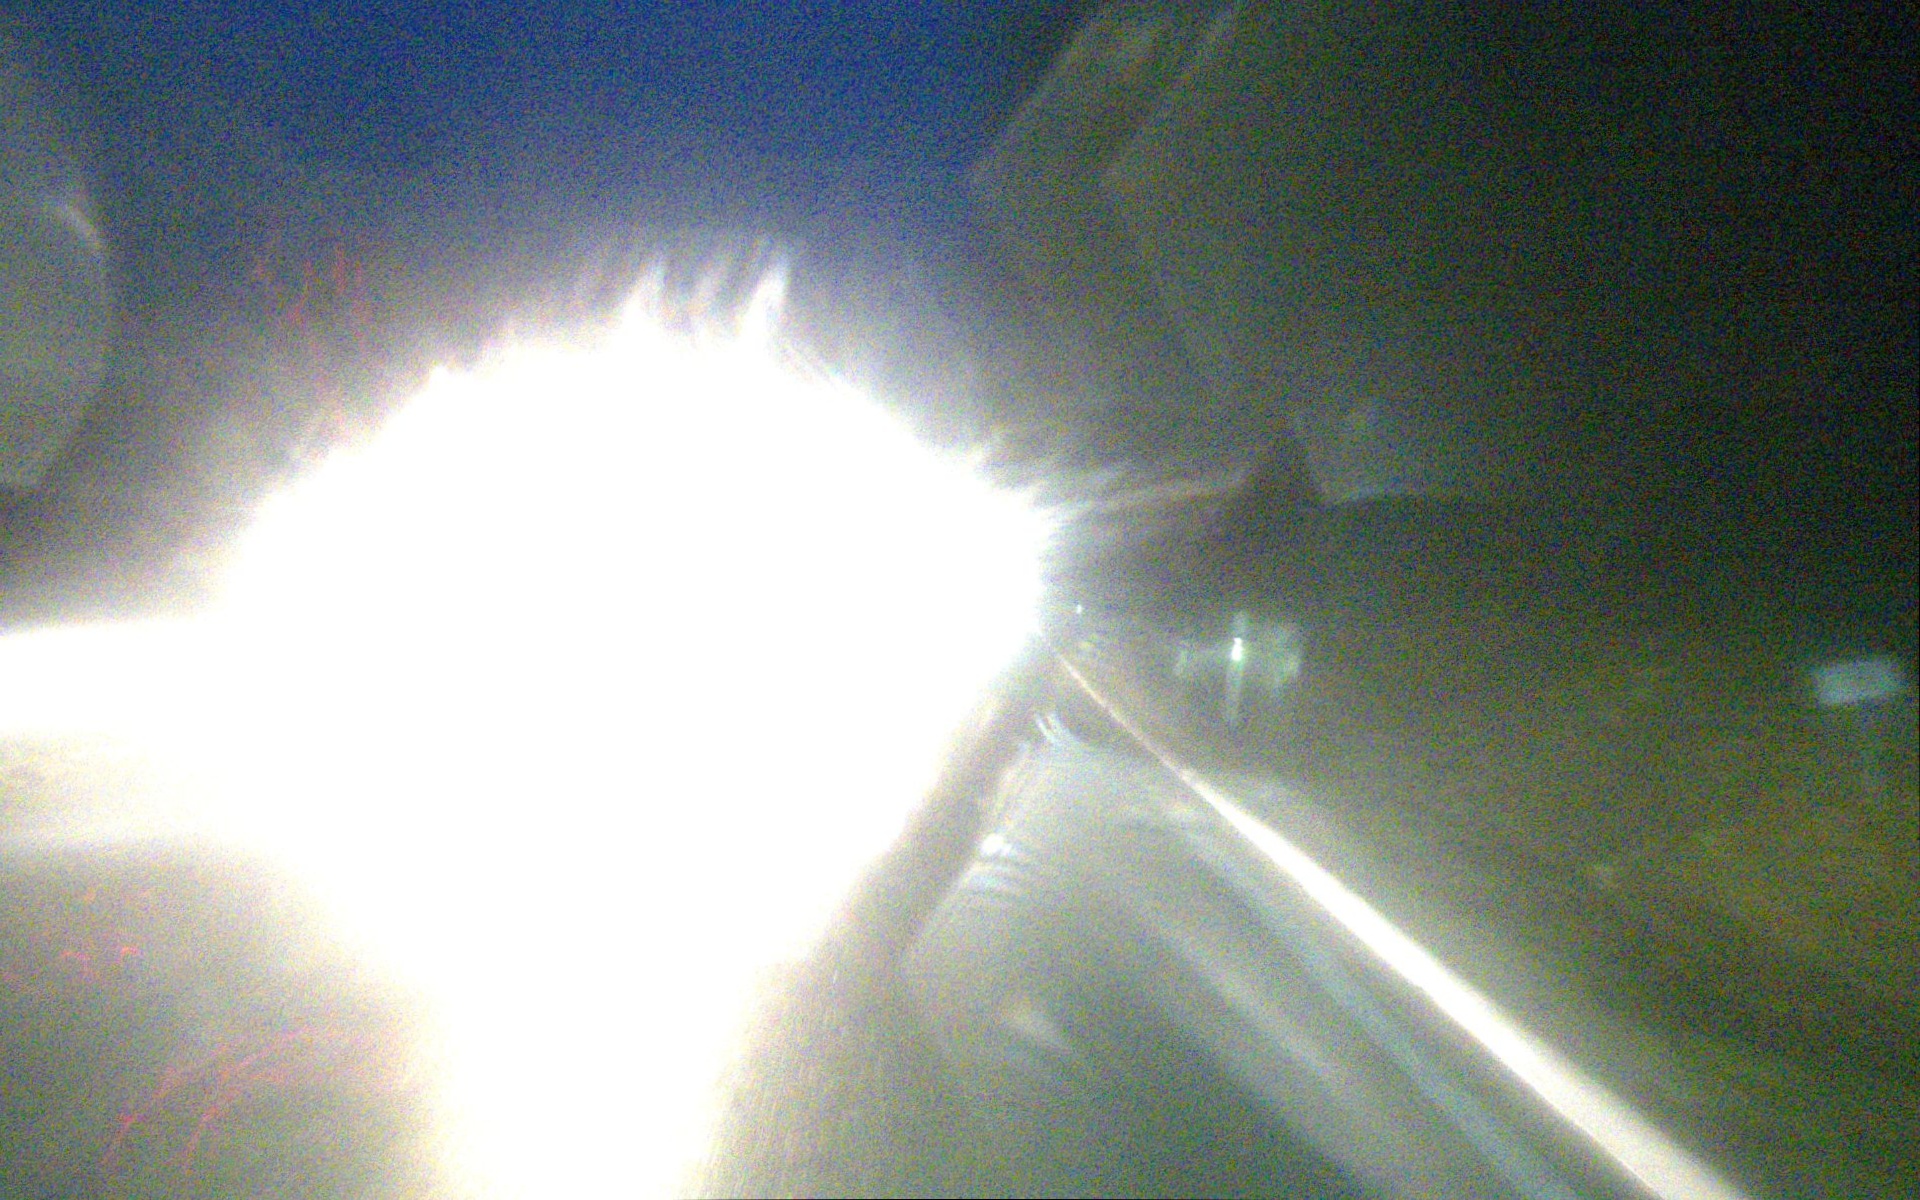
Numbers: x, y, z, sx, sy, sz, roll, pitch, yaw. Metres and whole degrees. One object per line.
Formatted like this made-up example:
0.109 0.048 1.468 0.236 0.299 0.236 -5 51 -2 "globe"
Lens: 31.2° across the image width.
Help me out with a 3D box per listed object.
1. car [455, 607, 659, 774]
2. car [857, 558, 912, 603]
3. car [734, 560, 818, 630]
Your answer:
-4.211 0.913 36.396 1.716 1.512 3.878 -3 1 -1 "car"
-2.713 -0.725 124.165 1.828 1.451 3.793 -2 2 0 "car"
-4.136 -0.132 77.699 1.716 1.466 3.708 -2 1 -1 "car"
